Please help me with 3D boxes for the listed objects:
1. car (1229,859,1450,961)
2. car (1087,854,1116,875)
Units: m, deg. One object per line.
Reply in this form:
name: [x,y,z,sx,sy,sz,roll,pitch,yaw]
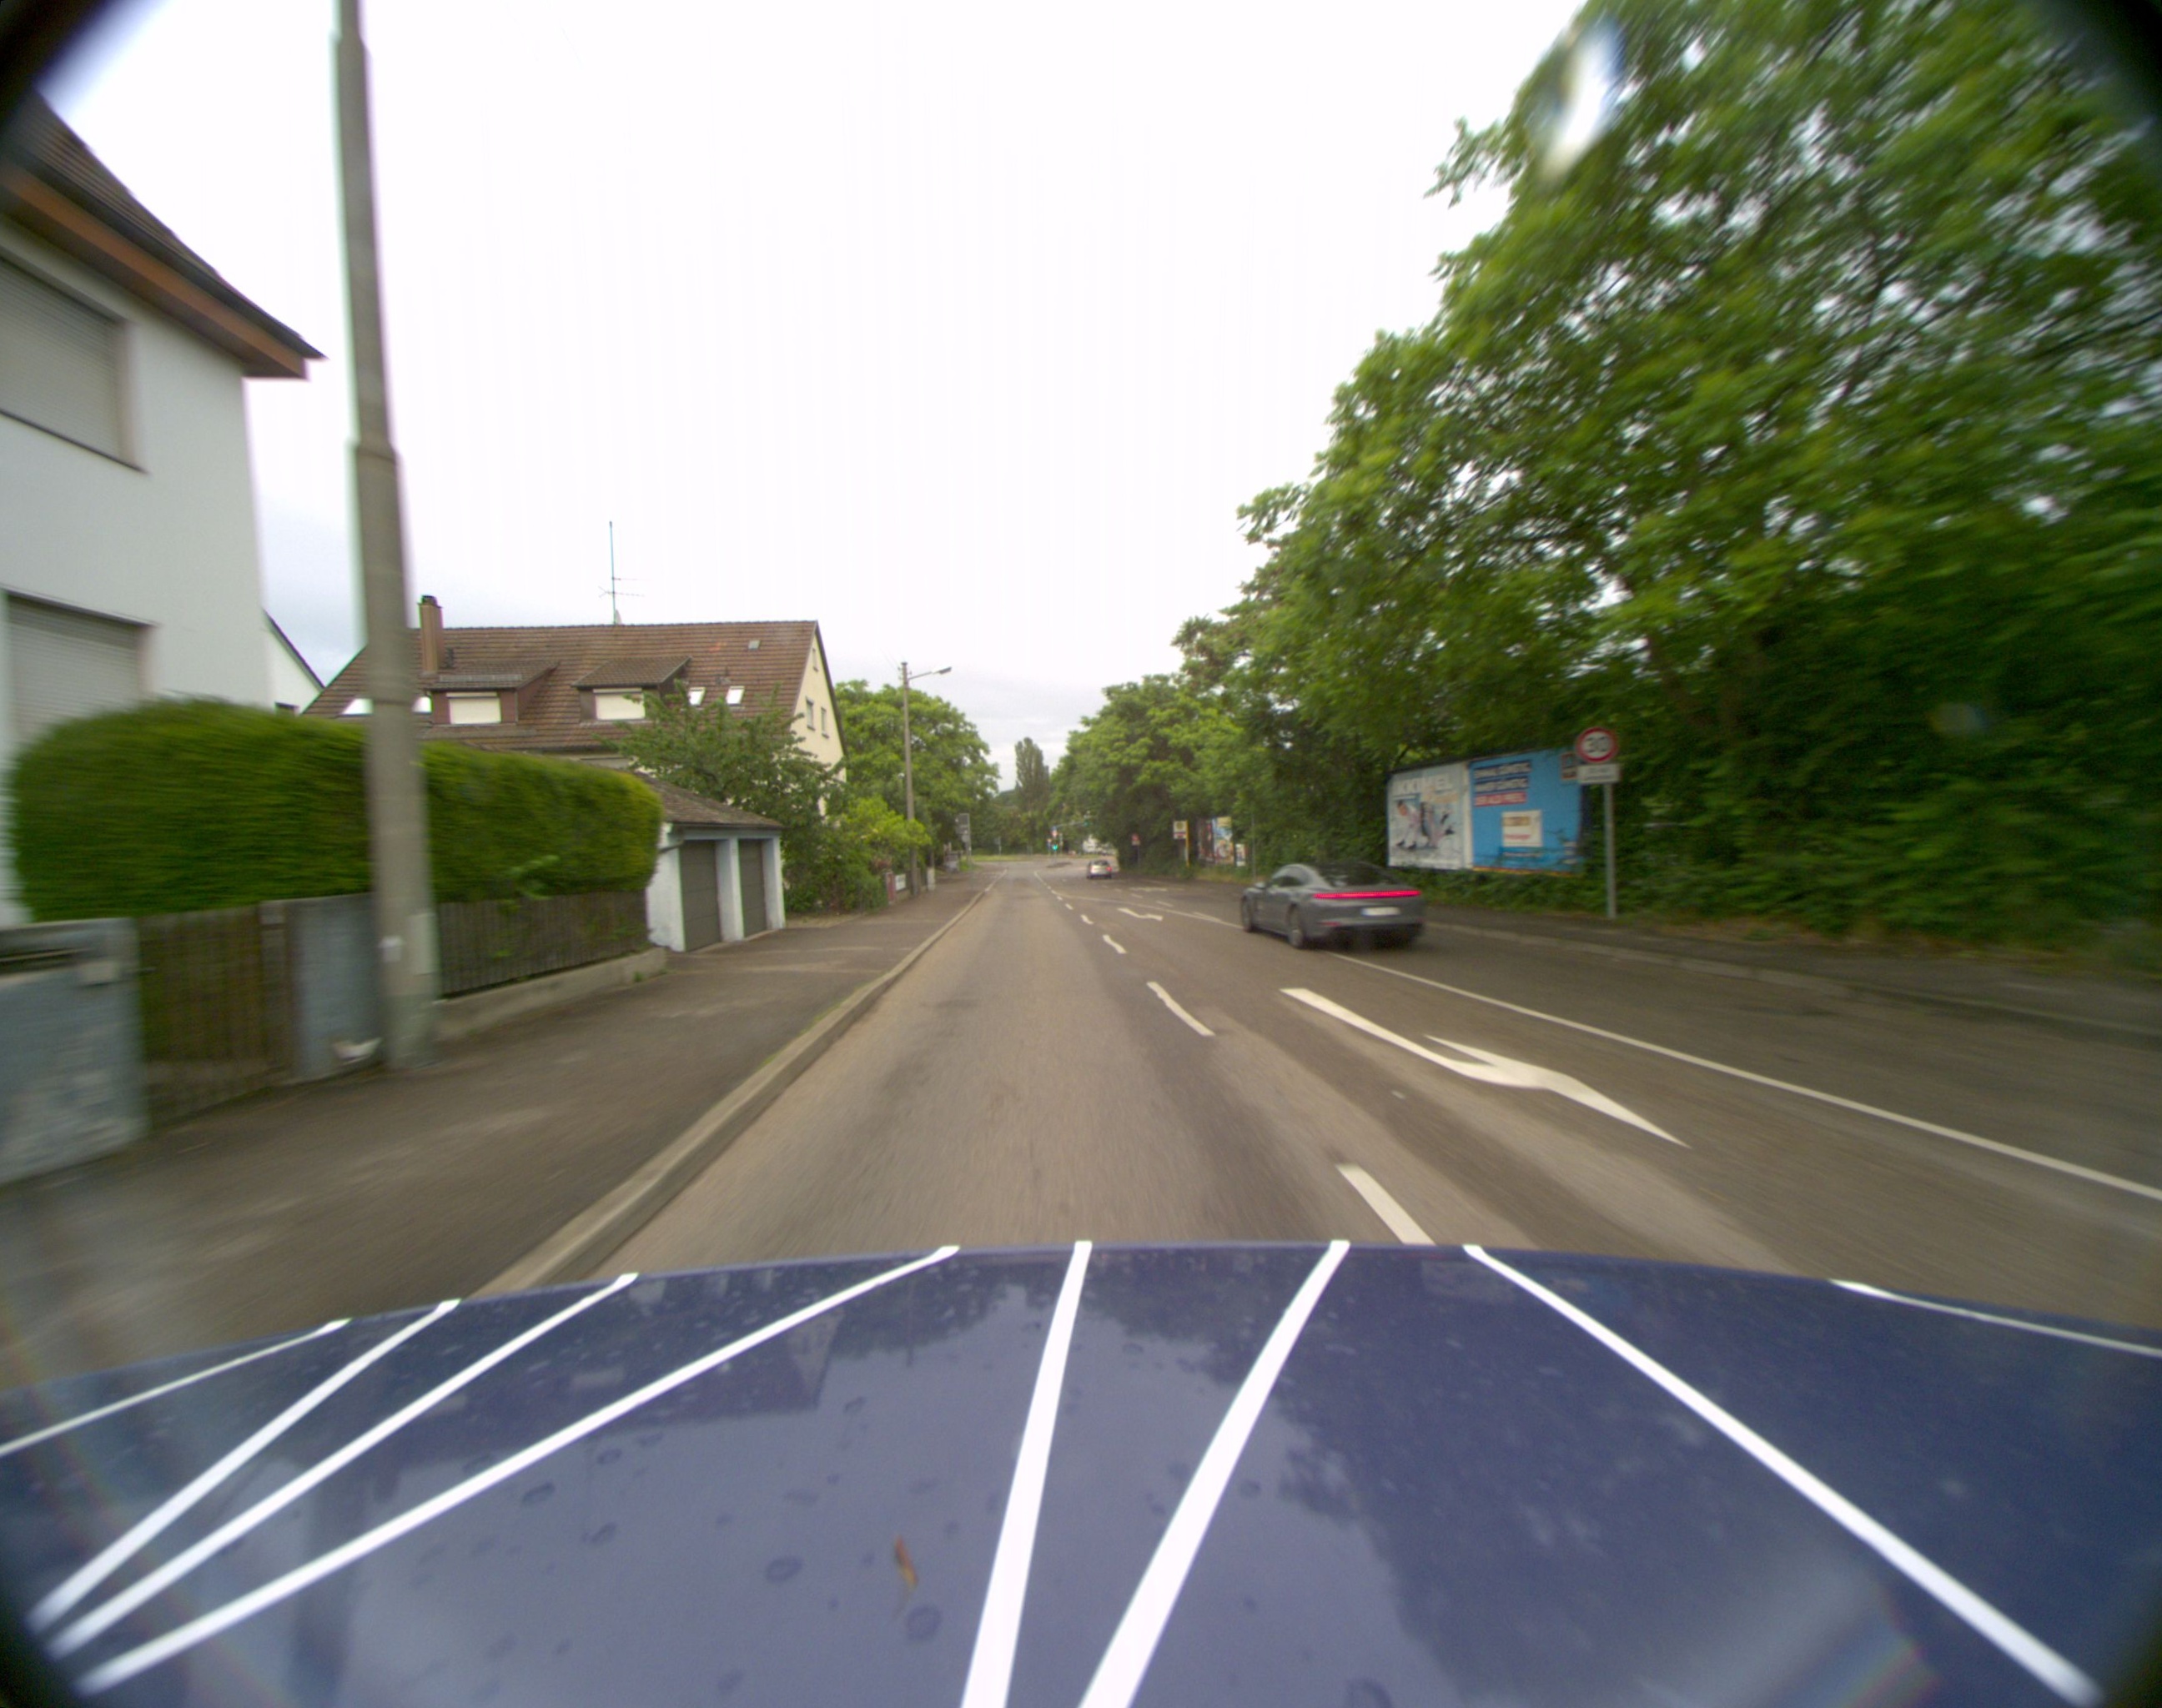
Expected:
car: [4.321,0.865,13.678,1.999,1.434,4.773,-2,-1,-4]
car: [1.534,0.769,58.129,1.674,1.459,3.778,-2,0,-6]
